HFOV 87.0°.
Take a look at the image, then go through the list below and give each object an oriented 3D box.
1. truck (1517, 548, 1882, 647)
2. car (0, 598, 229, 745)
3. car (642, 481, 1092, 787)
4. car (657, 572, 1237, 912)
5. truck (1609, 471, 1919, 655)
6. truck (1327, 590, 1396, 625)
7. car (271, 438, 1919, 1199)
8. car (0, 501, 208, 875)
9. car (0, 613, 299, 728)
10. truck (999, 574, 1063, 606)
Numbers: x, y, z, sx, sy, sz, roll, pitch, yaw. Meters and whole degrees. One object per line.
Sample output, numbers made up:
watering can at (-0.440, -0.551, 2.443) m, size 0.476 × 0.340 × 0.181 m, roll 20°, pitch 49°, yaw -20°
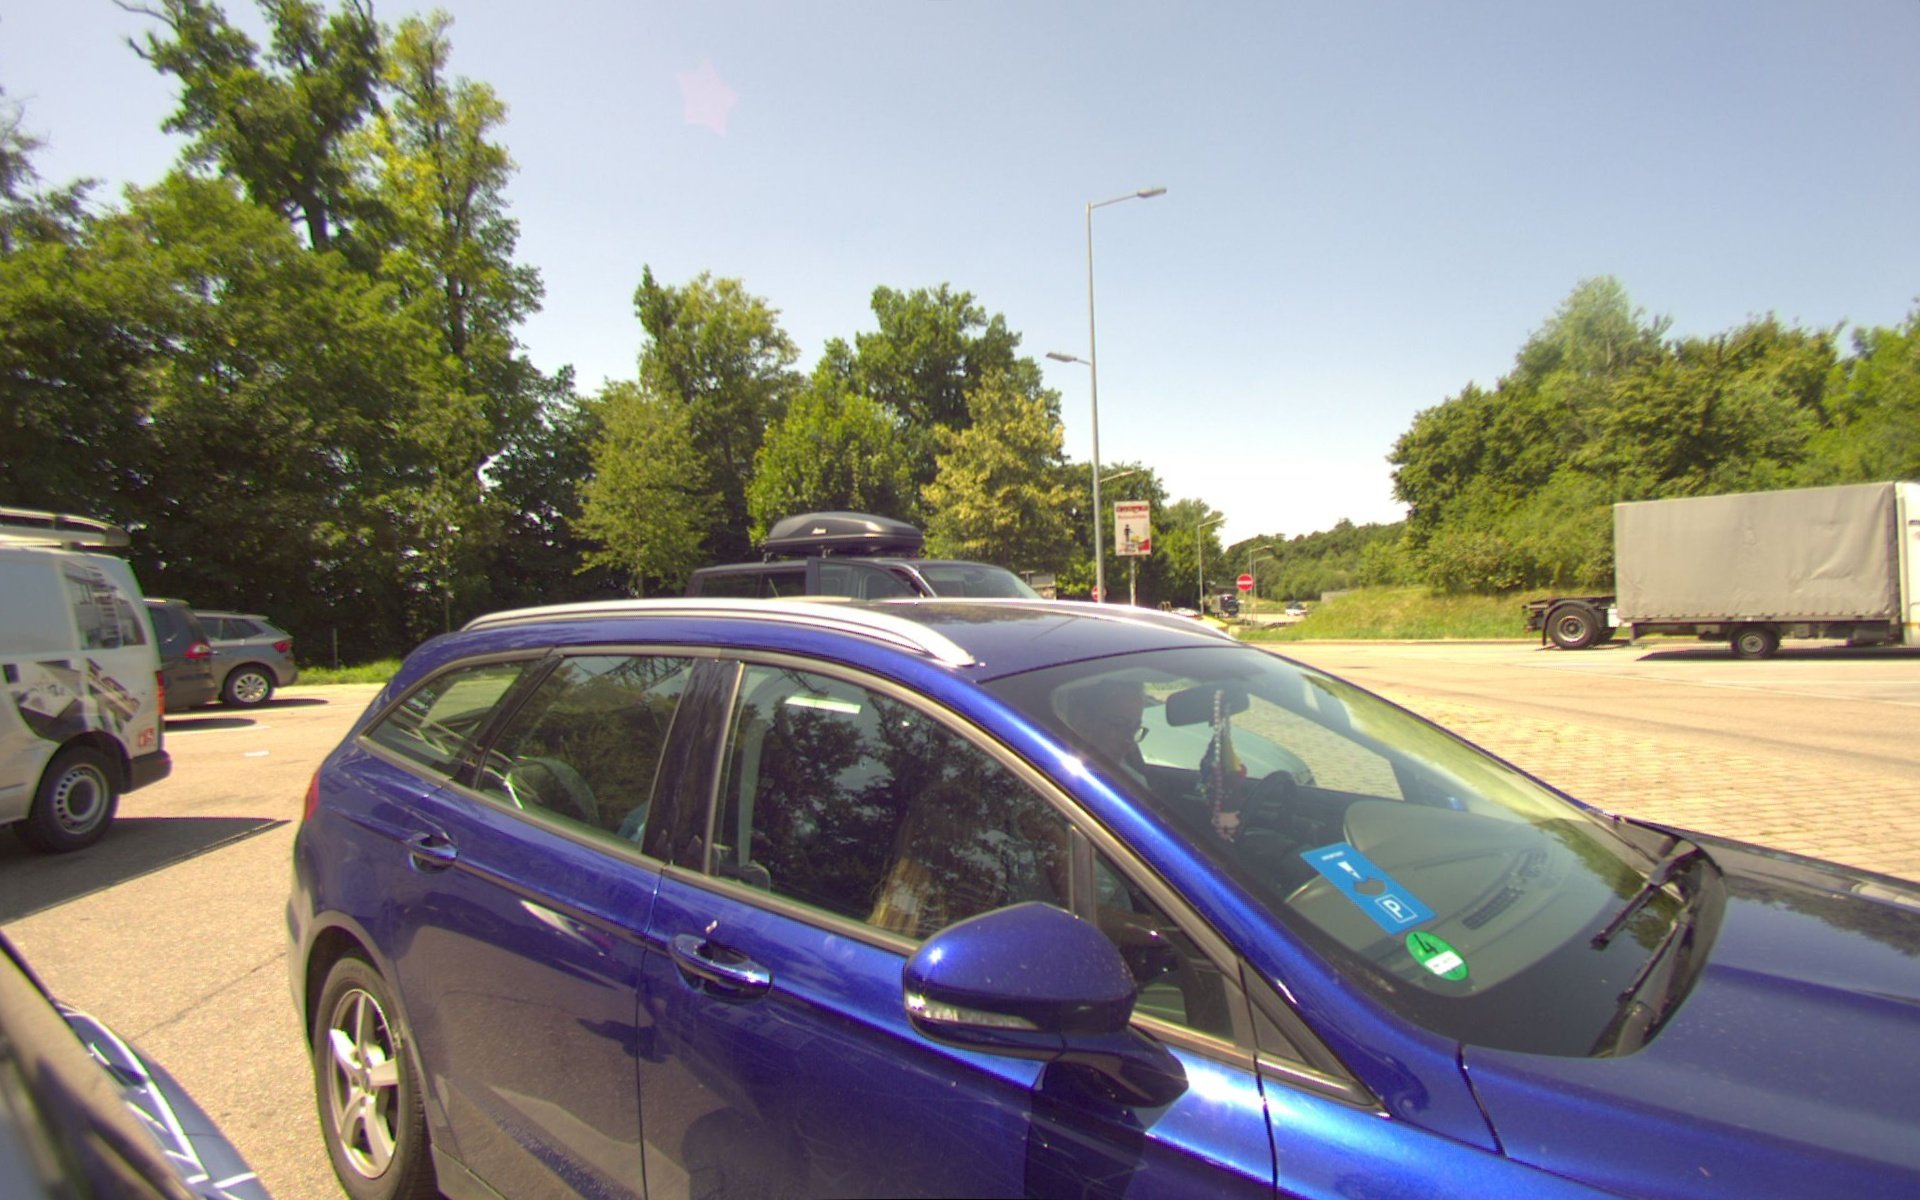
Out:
truck at (16.933, 0.043, 23.581) m, size 6.613 × 2.029 × 1.973 m, roll -2°, pitch -1°, yaw 41°
car at (-11.599, 0.853, 12.610) m, size 1.755 × 1.701 × 3.798 m, roll -2°, pitch -1°, yaw 45°
car at (-0.992, 0.322, 9.652) m, size 4.076 × 2.336 × 1.767 m, roll -2°, pitch -1°, yaw 35°
car at (-0.226, 0.608, 5.612) m, size 3.112 × 1.370 × 1.326 m, roll -2°, pitch -1°, yaw 41°
truck at (16.588, -0.626, 18.859) m, size 7.253 × 3.175 × 2.148 m, roll -2°, pitch -1°, yaw 41°
truck at (49.258, 0.851, 124.648) m, size 2.682 × 4.119 × 11.506 m, roll -1°, pitch 0°, yaw -7°
car at (0.239, 0.638, 2.109) m, size 4.411 × 1.429 × 1.721 m, roll -2°, pitch -1°, yaw 41°
car at (-6.258, 0.485, 4.731) m, size 1.816 × 2.121 × 5.440 m, roll 0°, pitch -1°, yaw -5°
car at (-12.516, 0.998, 15.726) m, size 3.535 × 1.513 × 1.708 m, roll -1°, pitch 0°, yaw -42°
truck at (3.424, -0.468, 48.773) m, size 2.866 × 1.386 × 1.158 m, roll -2°, pitch -1°, yaw 22°
